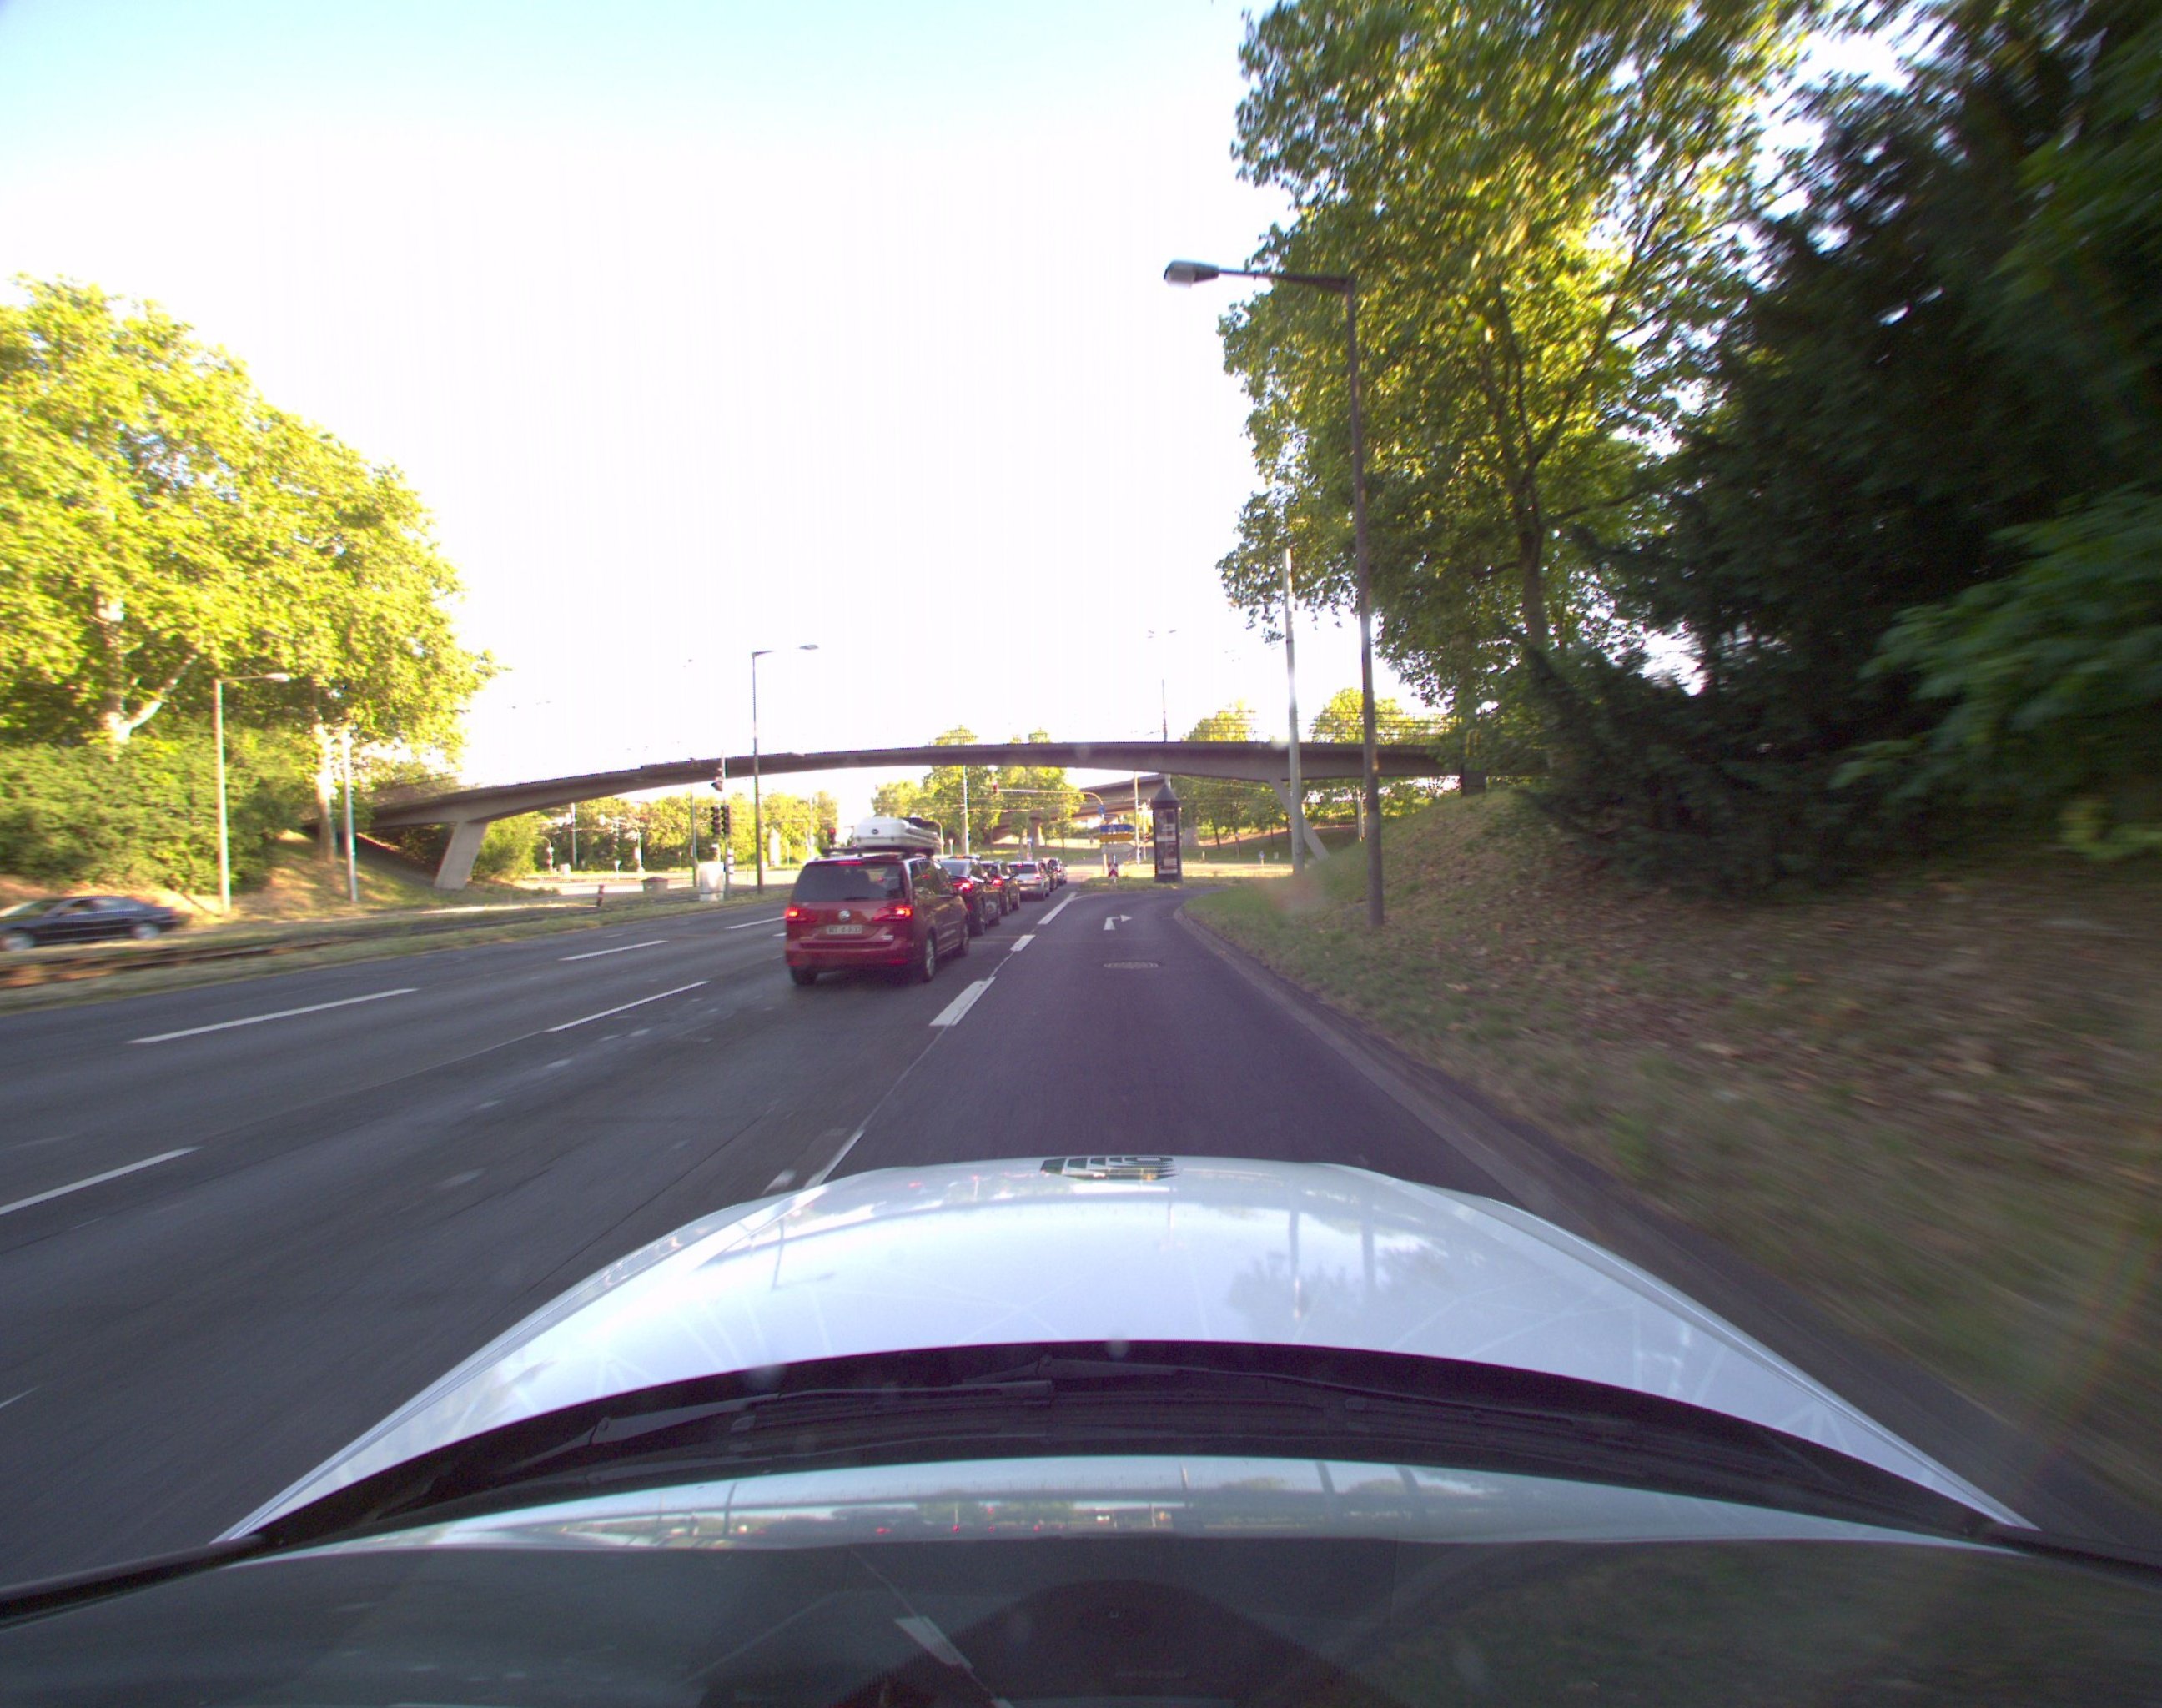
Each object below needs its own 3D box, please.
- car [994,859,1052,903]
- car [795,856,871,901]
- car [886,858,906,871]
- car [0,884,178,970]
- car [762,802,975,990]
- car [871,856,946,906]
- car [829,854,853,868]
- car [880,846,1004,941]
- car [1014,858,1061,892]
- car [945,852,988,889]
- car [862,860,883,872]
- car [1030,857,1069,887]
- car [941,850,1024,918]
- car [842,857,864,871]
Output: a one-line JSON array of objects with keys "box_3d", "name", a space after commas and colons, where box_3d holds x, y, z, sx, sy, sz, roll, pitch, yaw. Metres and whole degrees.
[{"box_3d": [-2.173, 0.988, 31.702, 1.786, 1.481, 4.001, -3, 0, 1], "name": "car"}, {"box_3d": [-9.865, 0.929, 32.673, 1.656, 1.565, 4.001, -3, 0, 1], "name": "car"}, {"box_3d": [-26.207, 1.421, 115.569, 1.872, 1.772, 4.000, 0, 0, 0], "name": "car"}, {"box_3d": [-28.082, 1.952, 22.174, 1.915, 2.013, 4.509, -3, 0, -2], "name": "car"}, {"box_3d": [-2.749, 0.484, 11.519, 1.786, 2.105, 4.001, -3, 0, 1], "name": "car"}, {"box_3d": [-6.125, 0.902, 29.371, 1.656, 1.565, 4.192, -3, 0, 1], "name": "car"}, {"box_3d": [-31.268, 0.884, 106.257, 1.872, 1.772, 4.000, 0, 0, 0], "name": "car"}, {"box_3d": [-2.866, 0.754, 17.777, 1.786, 1.750, 4.242, -3, 0, 1], "name": "car"}, {"box_3d": [-1.980, 0.932, 38.146, 1.786, 1.382, 4.478, -3, 0, 1], "name": "car"}, {"box_3d": [-6.023, 0.838, 43.341, 1.788, 1.792, 4.820, -3, 0, -3], "name": "car"}, {"box_3d": [-27.836, 1.569, 108.786, 1.872, 1.575, 3.674, 0, 0, 0], "name": "car"}, {"box_3d": [-1.692, 0.925, 44.414, 1.786, 1.442, 4.001, -3, 0, 1], "name": "car"}, {"box_3d": [-2.811, 0.801, 24.098, 1.786, 1.750, 4.001, -3, 0, 1], "name": "car"}, {"box_3d": [-31.771, 1.373, 113.529, 1.872, 1.772, 4.000, 0, 0, 0], "name": "car"}]
